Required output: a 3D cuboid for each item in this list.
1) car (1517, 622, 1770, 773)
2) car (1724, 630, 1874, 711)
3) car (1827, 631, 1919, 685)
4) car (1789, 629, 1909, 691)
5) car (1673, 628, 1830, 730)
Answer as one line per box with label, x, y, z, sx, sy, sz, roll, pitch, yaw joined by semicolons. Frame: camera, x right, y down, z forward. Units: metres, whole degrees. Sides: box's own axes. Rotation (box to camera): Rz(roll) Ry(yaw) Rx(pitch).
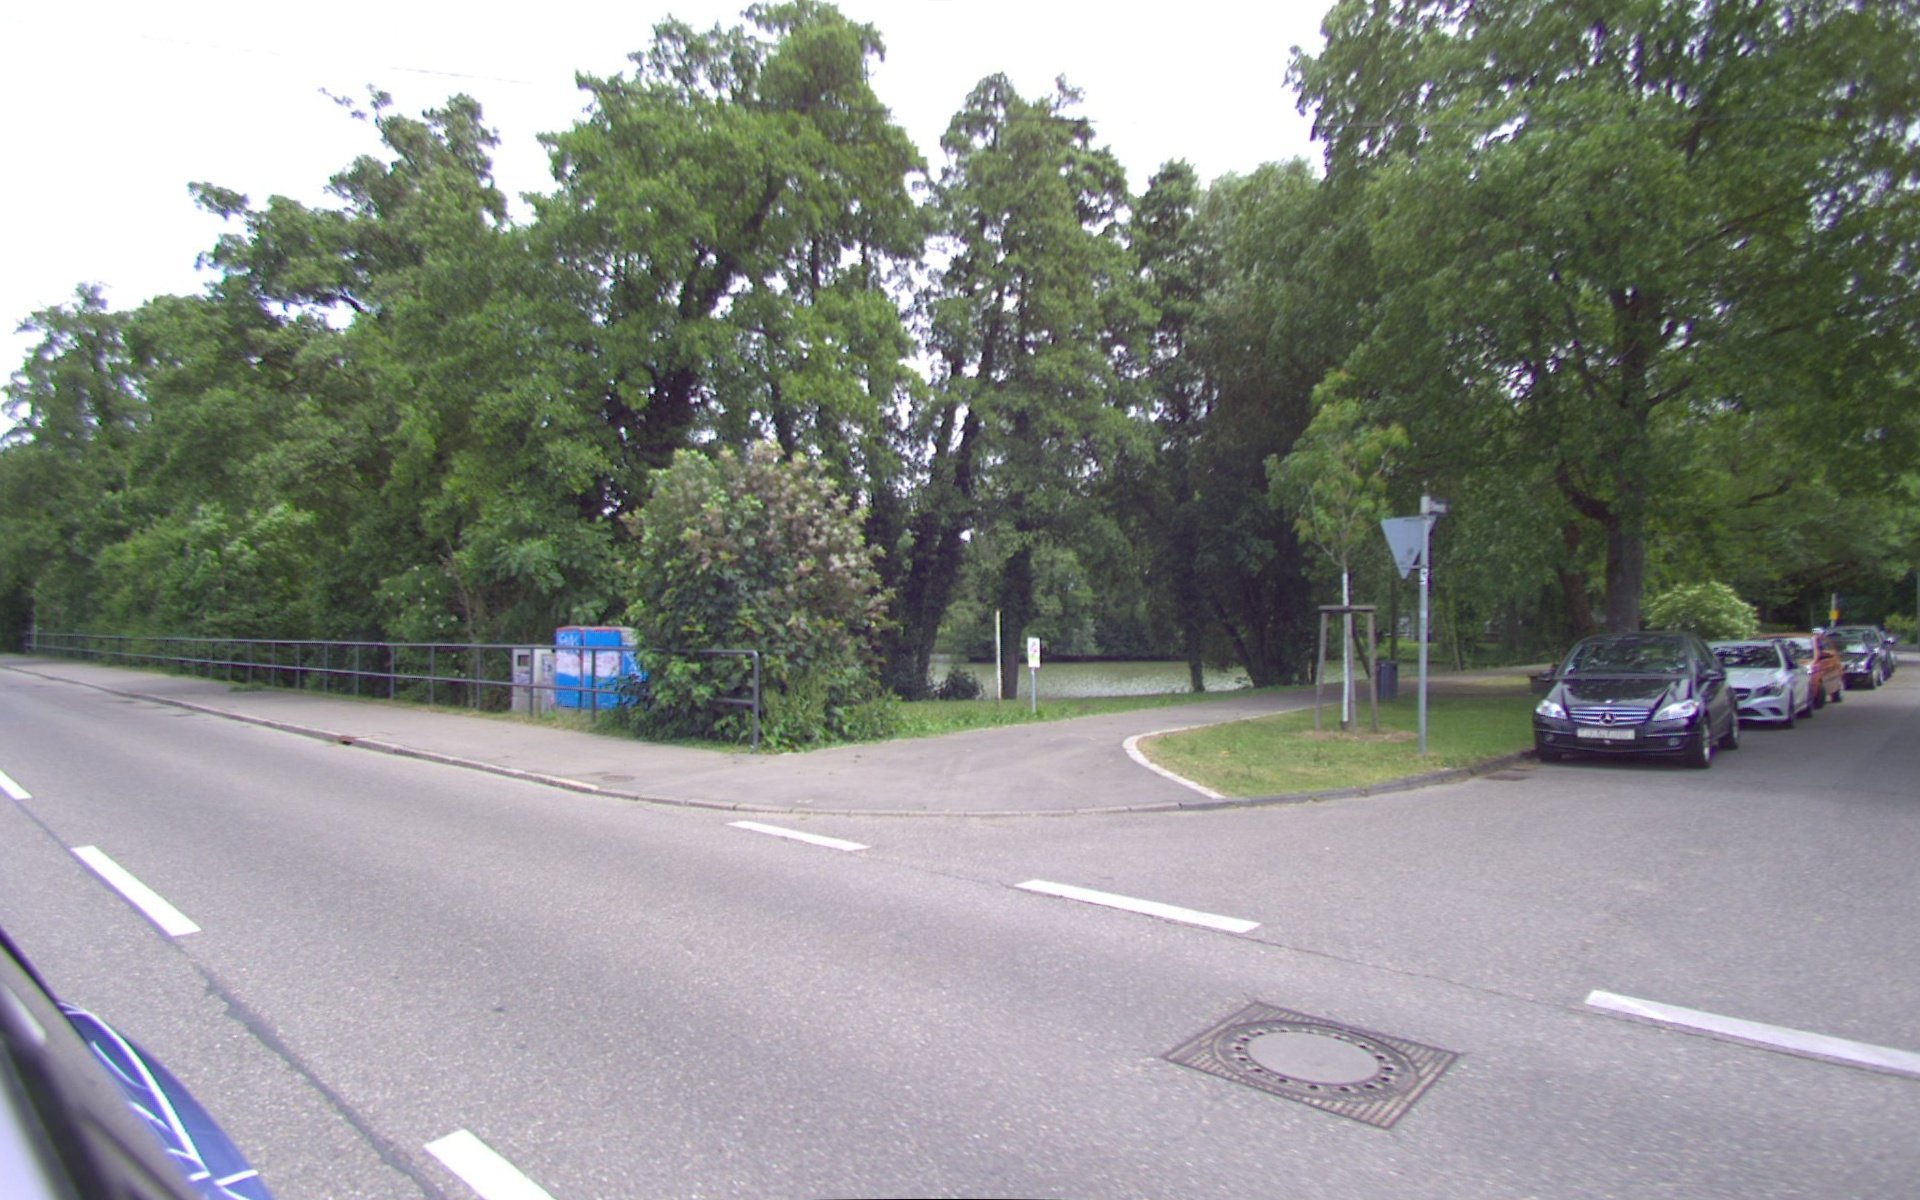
car;8.962;1.165;13.143;1.968;1.634;3.942;-6;-5;44
car;17.682;1.402;21.279;3.940;1.490;1.958;1;-2;-44
car;28.665;1.757;31.566;3.939;1.490;1.959;1;-2;-42
car;23.720;1.533;26.962;3.939;1.490;1.959;1;-2;-42
car;13.593;1.256;17.299;1.840;1.529;3.944;-2;-3;42
